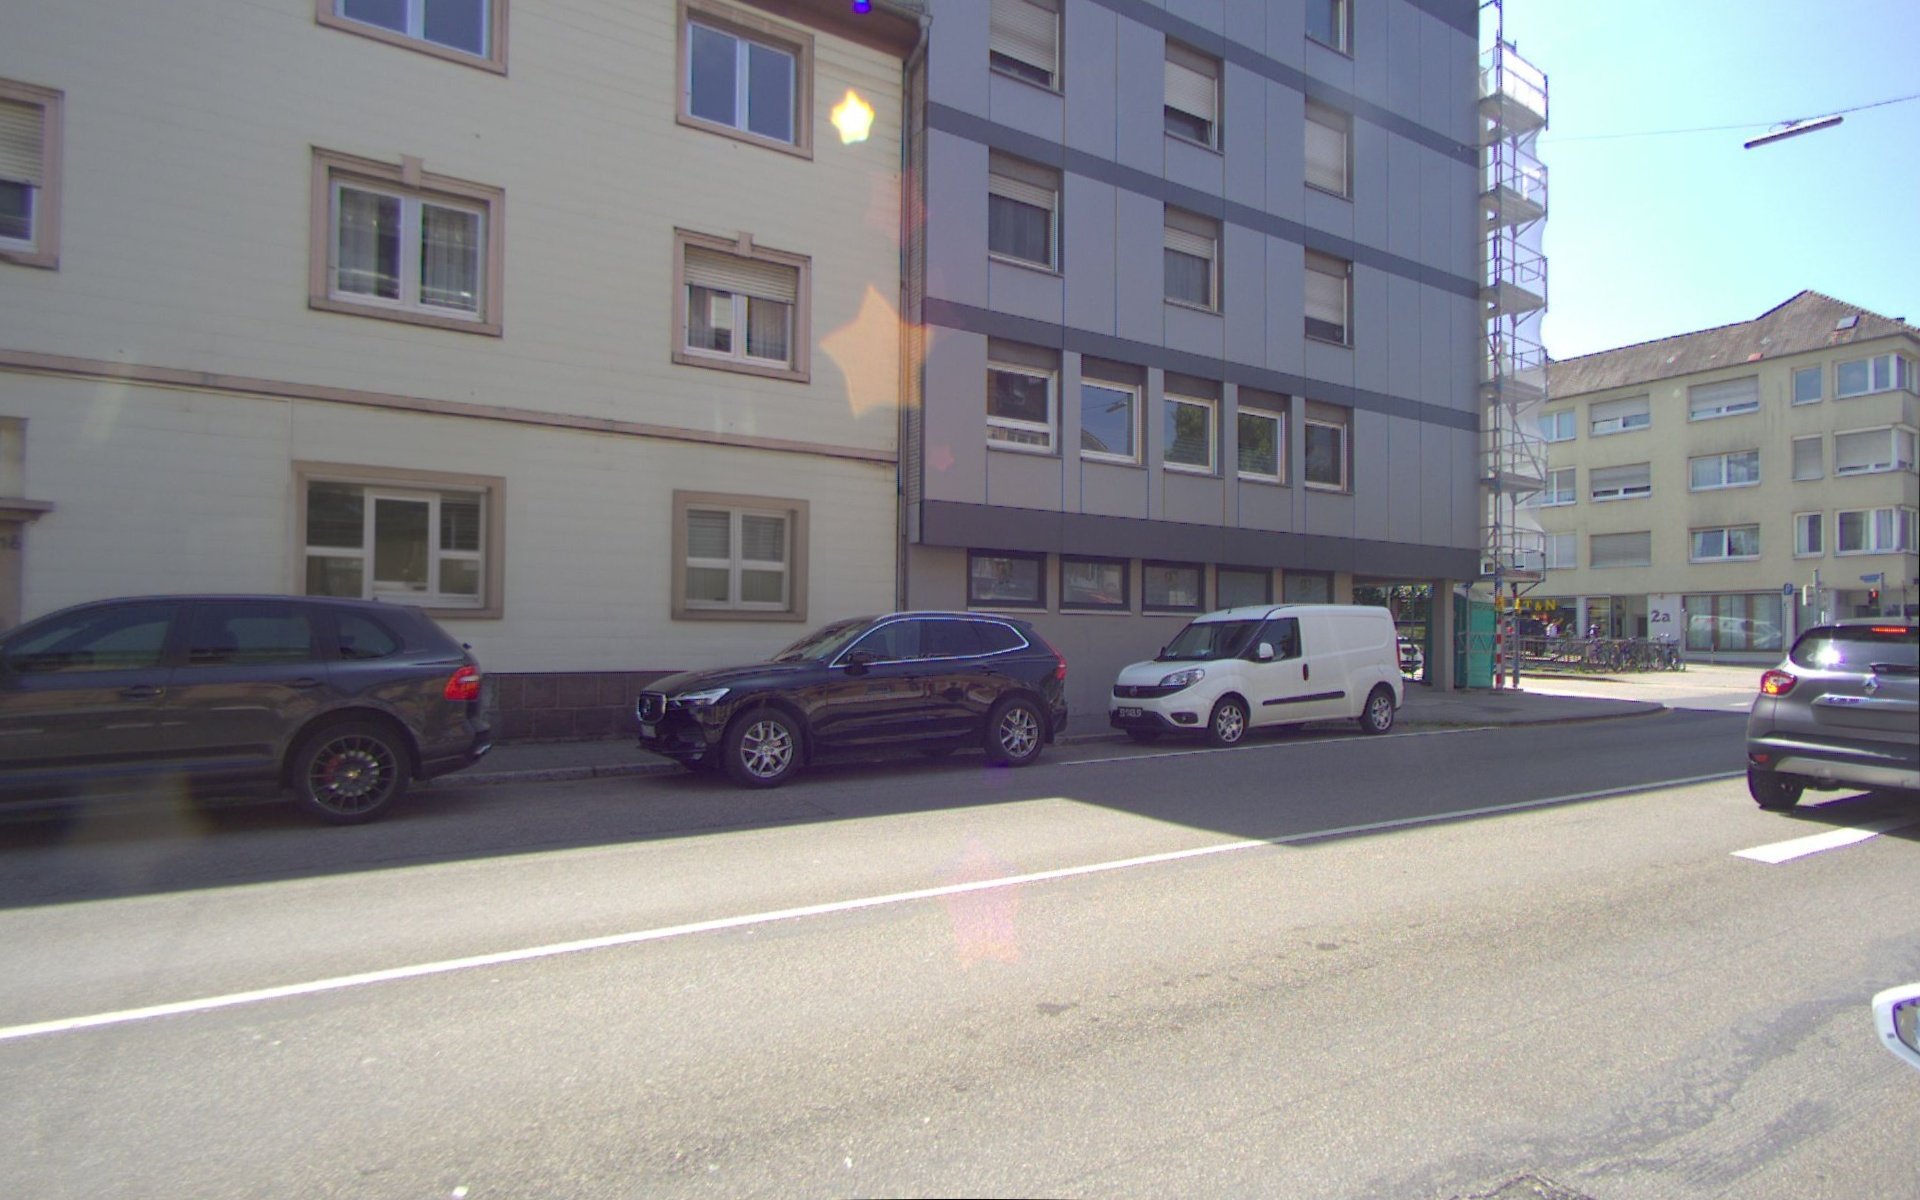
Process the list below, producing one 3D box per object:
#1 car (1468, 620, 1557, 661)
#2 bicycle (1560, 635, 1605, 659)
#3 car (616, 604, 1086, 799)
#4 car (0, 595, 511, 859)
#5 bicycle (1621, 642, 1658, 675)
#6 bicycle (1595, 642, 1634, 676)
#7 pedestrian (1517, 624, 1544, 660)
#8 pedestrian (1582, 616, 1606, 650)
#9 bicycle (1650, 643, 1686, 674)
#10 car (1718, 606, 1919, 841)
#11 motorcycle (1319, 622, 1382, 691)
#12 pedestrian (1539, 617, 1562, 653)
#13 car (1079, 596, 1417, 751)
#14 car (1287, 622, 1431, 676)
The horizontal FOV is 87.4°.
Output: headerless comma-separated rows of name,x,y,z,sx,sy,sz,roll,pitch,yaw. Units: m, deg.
car,24.208,1.776,44.211,1.959,1.686,4.333,0,-2,7
bicycle,28.529,2.155,46.077,0.493,1.040,1.728,1,-1,-32
car,-1.046,0.976,10.640,4.612,1.662,1.875,2,-4,-33
car,-6.028,0.862,7.441,4.762,1.662,1.876,2,-4,-31
bicycle,21.112,1.803,31.208,1.729,0.980,0.394,2,-2,-36
bicycle,19.619,1.750,30.098,1.702,0.980,0.394,2,-2,-36
pedestrian,26.382,1.953,46.478,0.813,1.654,0.798,1,-2,-30
pedestrian,27.796,1.436,44.029,0.641,1.495,0.682,1,-2,-30
bicycle,22.845,1.873,32.384,1.766,0.980,0.394,2,-2,-36
car,8.266,0.909,8.375,3.953,1.653,1.745,1,-1,-30
motorcycle,8.869,1.249,22.912,0.864,1.491,2.044,1,-1,7
pedestrian,27.344,1.627,46.521,0.641,1.654,0.682,1,-2,-30
car,4.111,0.991,14.074,4.736,1.849,1.903,2,-4,-33
car,11.879,1.419,30.081,1.740,1.466,3.704,1,-1,-34
